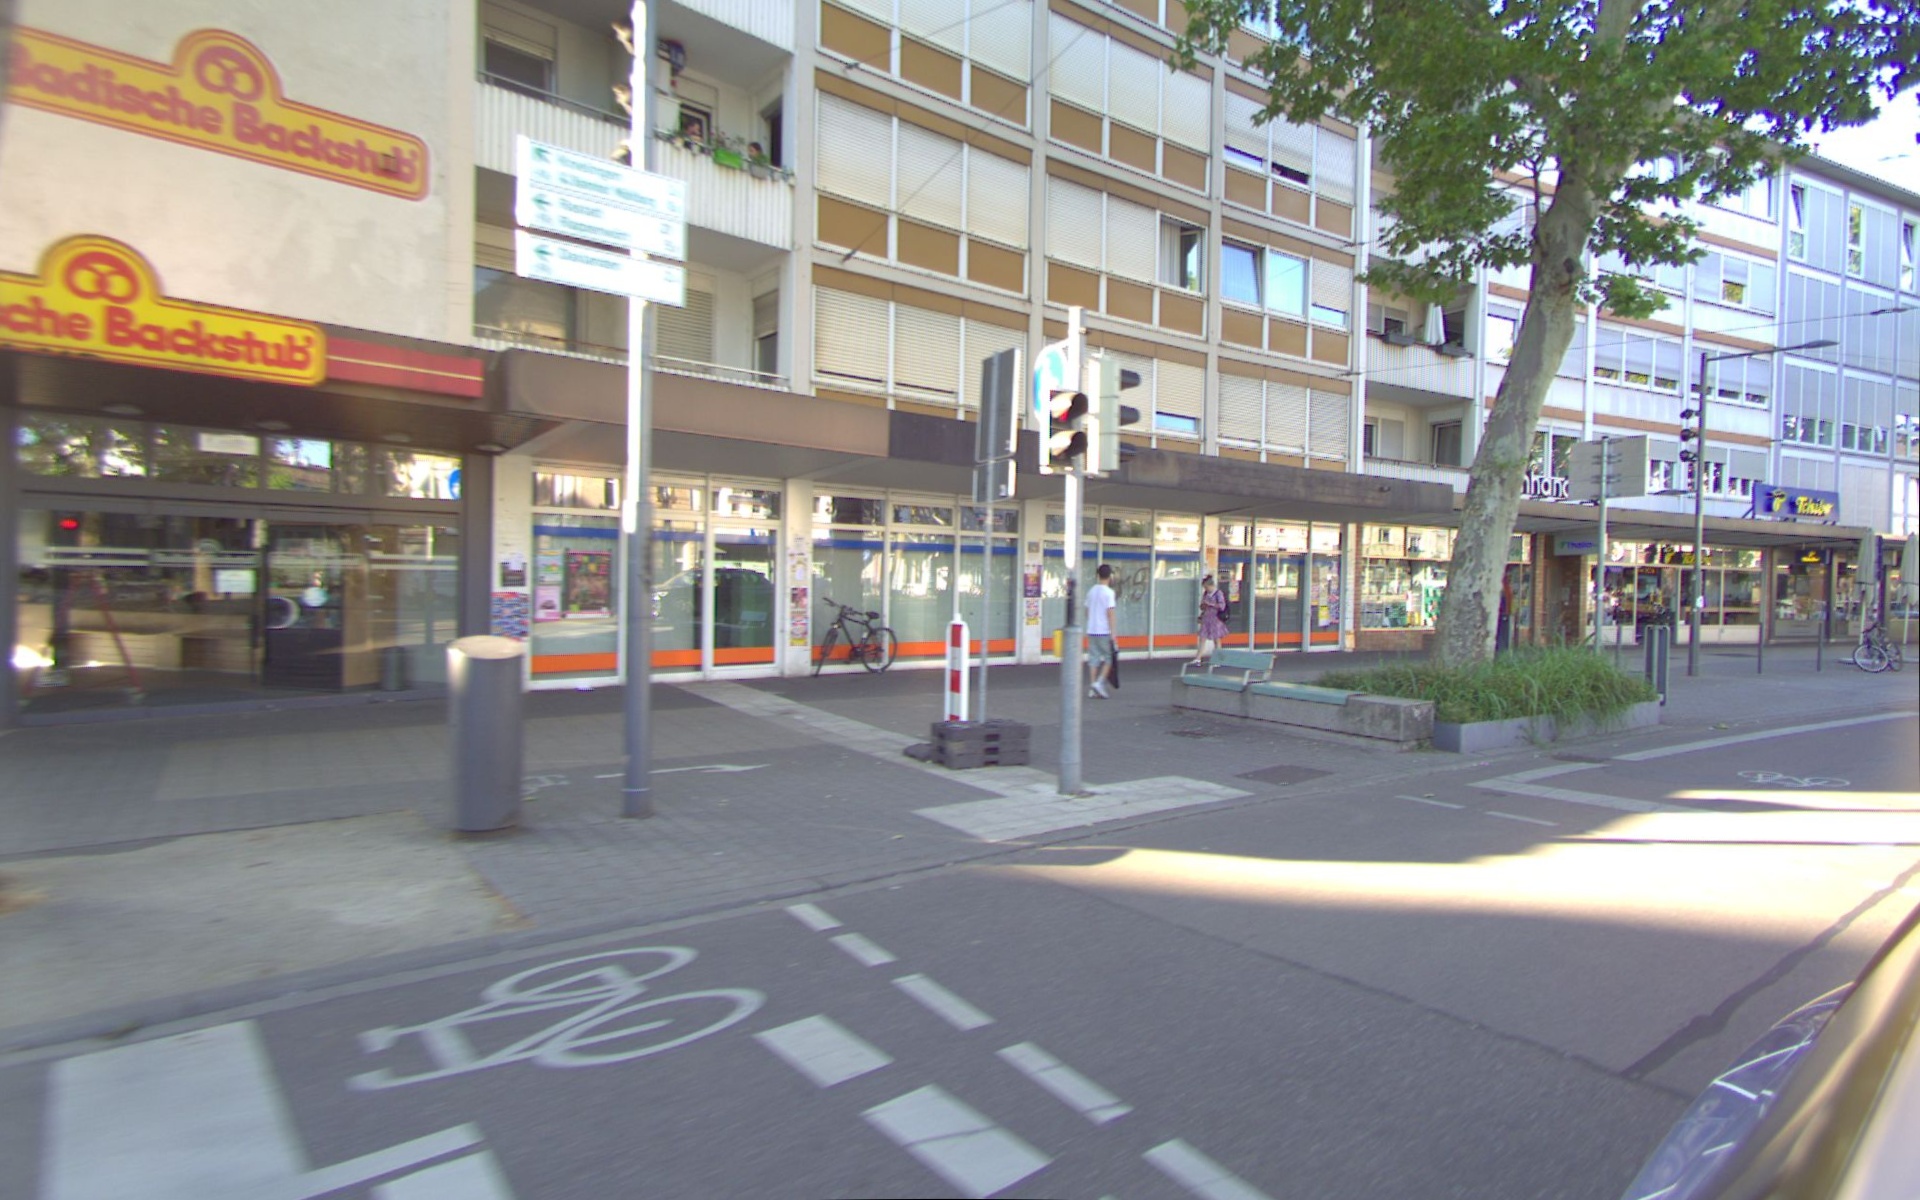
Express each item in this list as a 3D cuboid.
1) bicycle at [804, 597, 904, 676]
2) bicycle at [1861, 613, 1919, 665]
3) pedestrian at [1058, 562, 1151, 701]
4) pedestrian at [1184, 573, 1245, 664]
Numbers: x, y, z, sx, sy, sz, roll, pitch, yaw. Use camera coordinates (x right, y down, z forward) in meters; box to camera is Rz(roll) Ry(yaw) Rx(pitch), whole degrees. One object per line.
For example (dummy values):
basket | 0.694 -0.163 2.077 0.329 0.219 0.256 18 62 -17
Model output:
bicycle | -1.566 0.525 15.087 1.436 1.106 0.438 0 3 -40
bicycle | 20.601 0.843 22.340 1.628 1.083 0.513 1 3 -29
pedestrian | 1.902 0.392 13.341 0.780 1.733 0.836 1 3 -44
pedestrian | 4.535 0.314 18.062 0.792 1.571 0.642 0 2 -34
